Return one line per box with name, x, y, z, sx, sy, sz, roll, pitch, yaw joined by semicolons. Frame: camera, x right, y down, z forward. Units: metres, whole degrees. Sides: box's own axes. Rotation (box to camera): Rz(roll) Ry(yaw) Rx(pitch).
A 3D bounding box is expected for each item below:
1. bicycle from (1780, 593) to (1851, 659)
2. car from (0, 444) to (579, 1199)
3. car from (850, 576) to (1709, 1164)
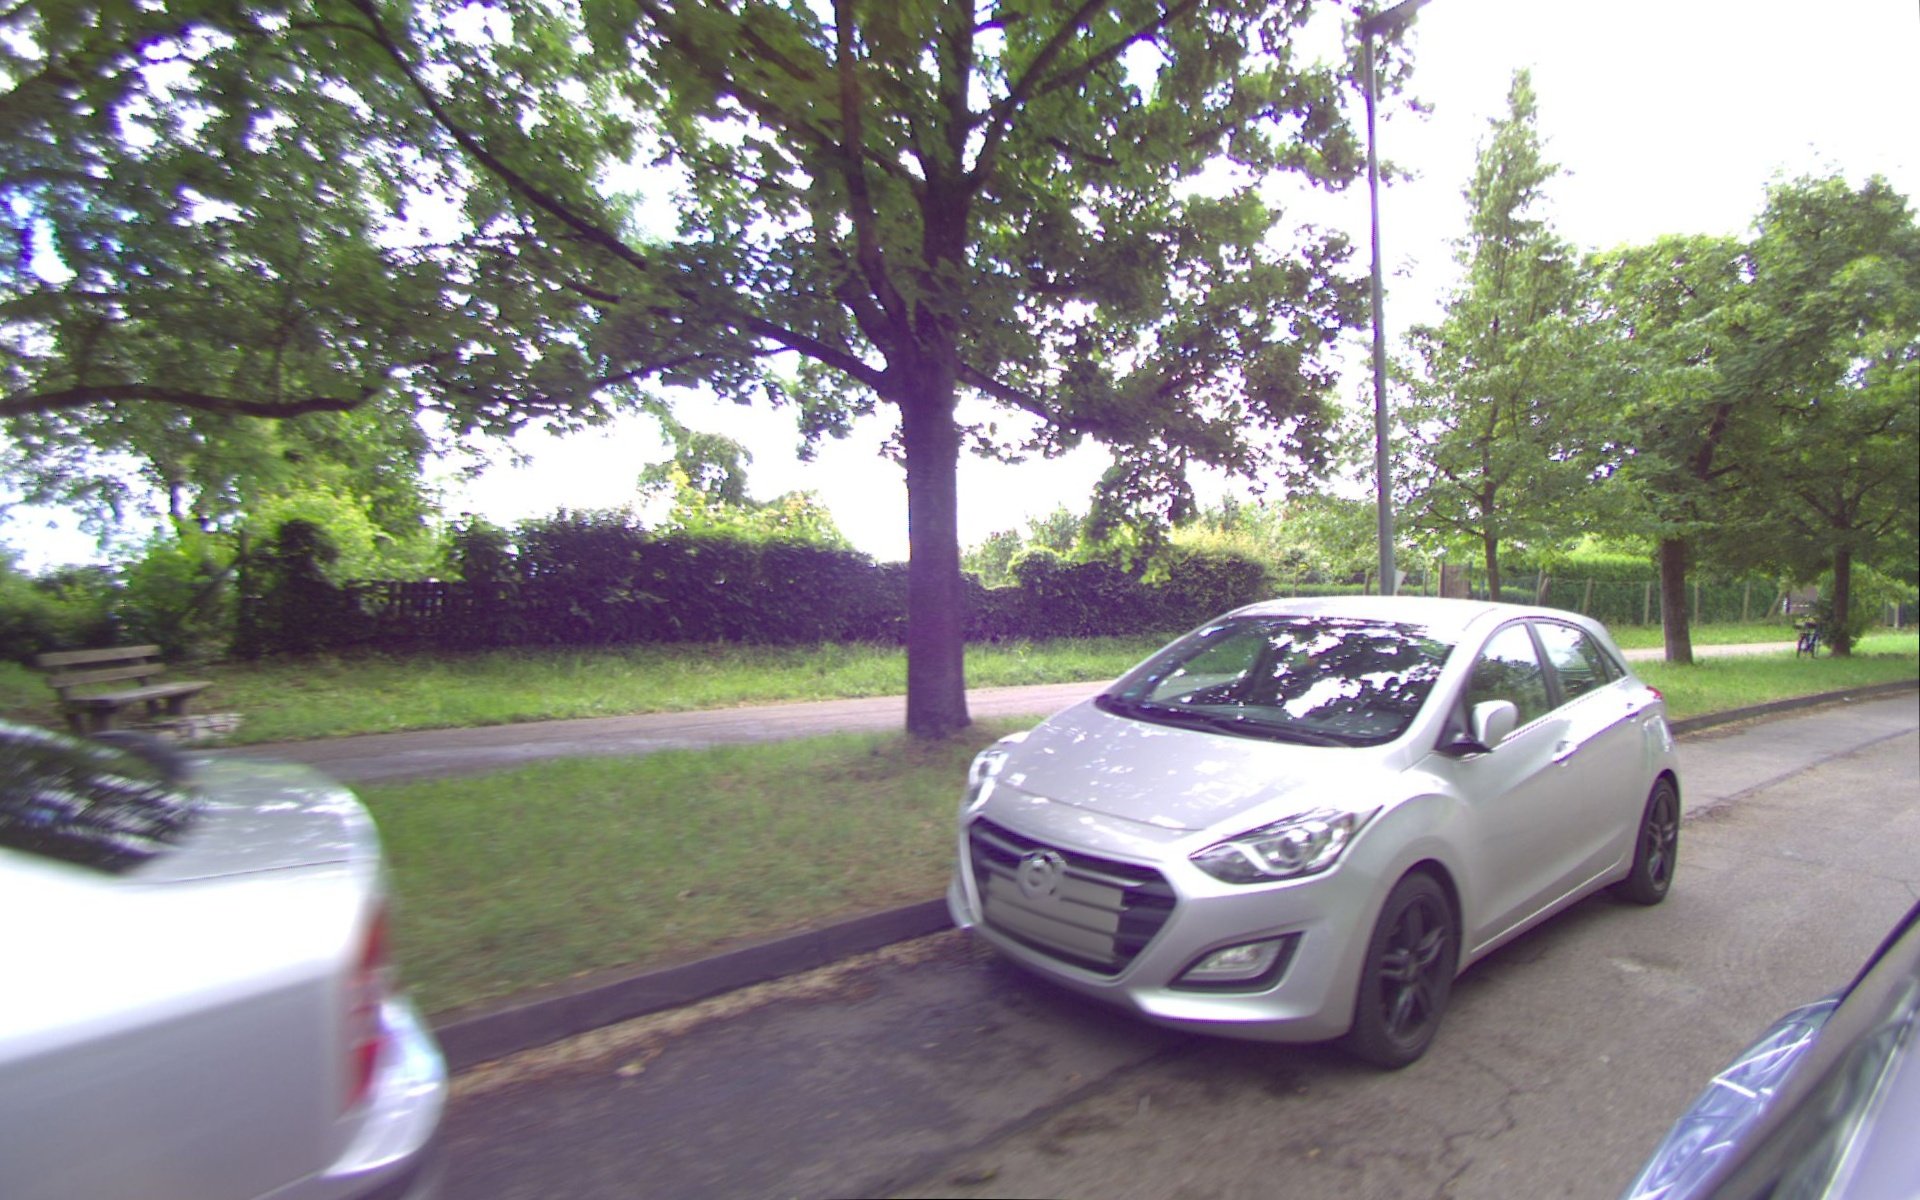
bicycle;17.944;0.527;21.209;2.143;1.230;0.536;-3;0;-34
car;-2.820;0.610;0.613;4.559;1.544;1.743;-1;2;-44
car;1.690;0.664;4.600;3.987;1.495;1.906;0;1;-40
